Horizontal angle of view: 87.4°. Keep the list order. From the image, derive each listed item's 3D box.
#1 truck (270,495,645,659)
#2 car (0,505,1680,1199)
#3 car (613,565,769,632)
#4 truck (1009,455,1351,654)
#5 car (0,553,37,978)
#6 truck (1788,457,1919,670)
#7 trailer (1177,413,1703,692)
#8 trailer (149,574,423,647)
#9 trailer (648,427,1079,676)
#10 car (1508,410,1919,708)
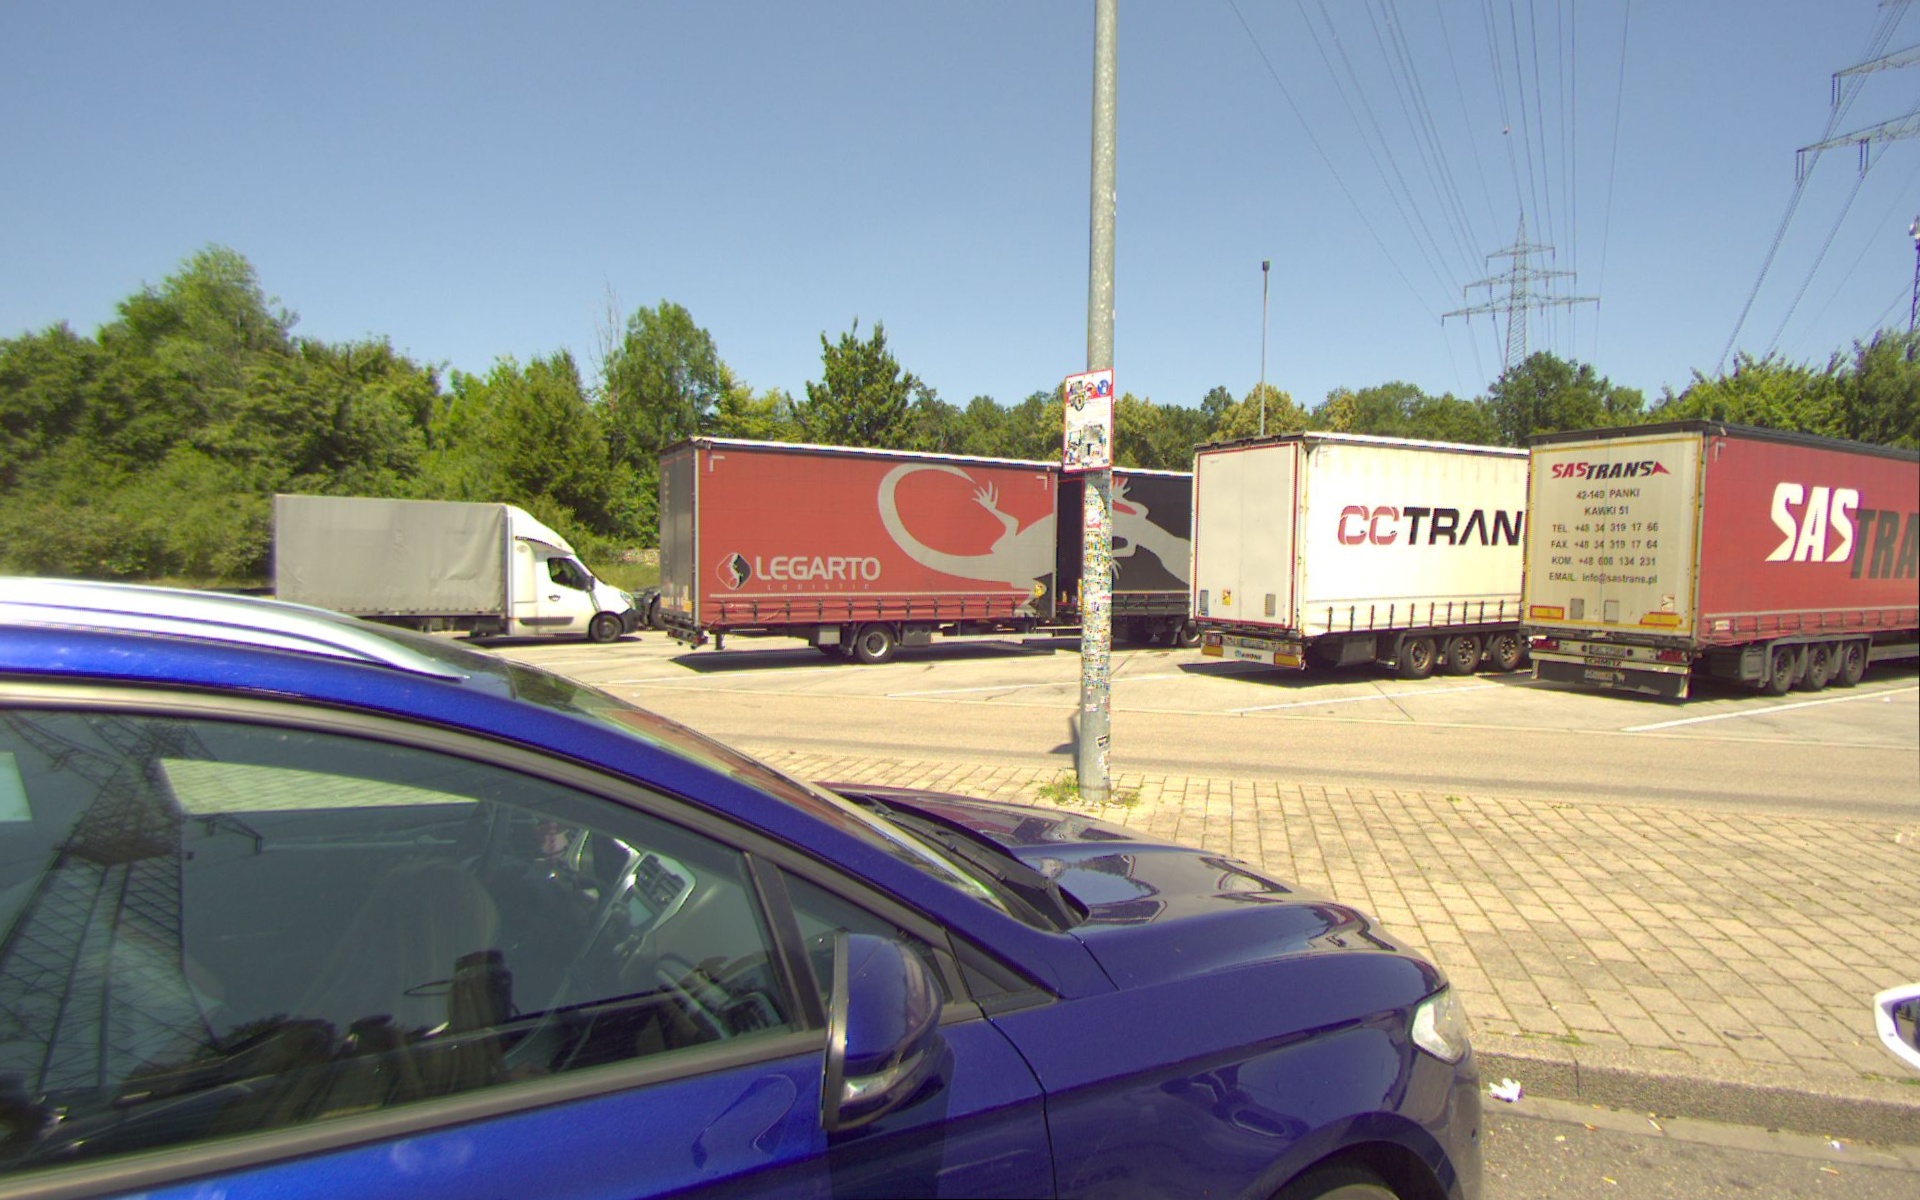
[{"bbox_3d":[-11.126,-0.581,22.862,7.219,3.277,2.308,-2,3,-29],"label":"truck"},{"bbox_3d":[-0.998,0.665,1.451,4.380,1.464,1.771,0,0,-32],"label":"car"},{"bbox_3d":[-7.616,-0.042,28.503,3.953,1.773,1.902,0,0,-30],"label":"car"},{"bbox_3d":[5.591,-1.076,24.815,8.683,4.248,2.800,-1,2,-30],"label":"truck"},{"bbox_3d":[-4.624,0.551,2.103,3.700,1.432,1.595,0,0,-32],"label":"car"},{"bbox_3d":[21.130,-0.774,21.851,6.163,4.169,2.683,-1,3,-30],"label":"truck"},{"bbox_3d":[10.099,-0.882,20.054,12.786,4.325,2.800,-1,2,-31],"label":"trailer"},{"bbox_3d":[-15.961,0.247,24.168,5.332,1.617,1.585,0,0,-30],"label":"trailer"},{"bbox_3d":[-1.755,-0.927,20.492,8.389,4.248,2.800,-1,2,-30],"label":"trailer"},{"bbox_3d":[15.205,-0.694,18.440,12.777,4.169,2.683,-1,3,-30],"label":"car"}]
